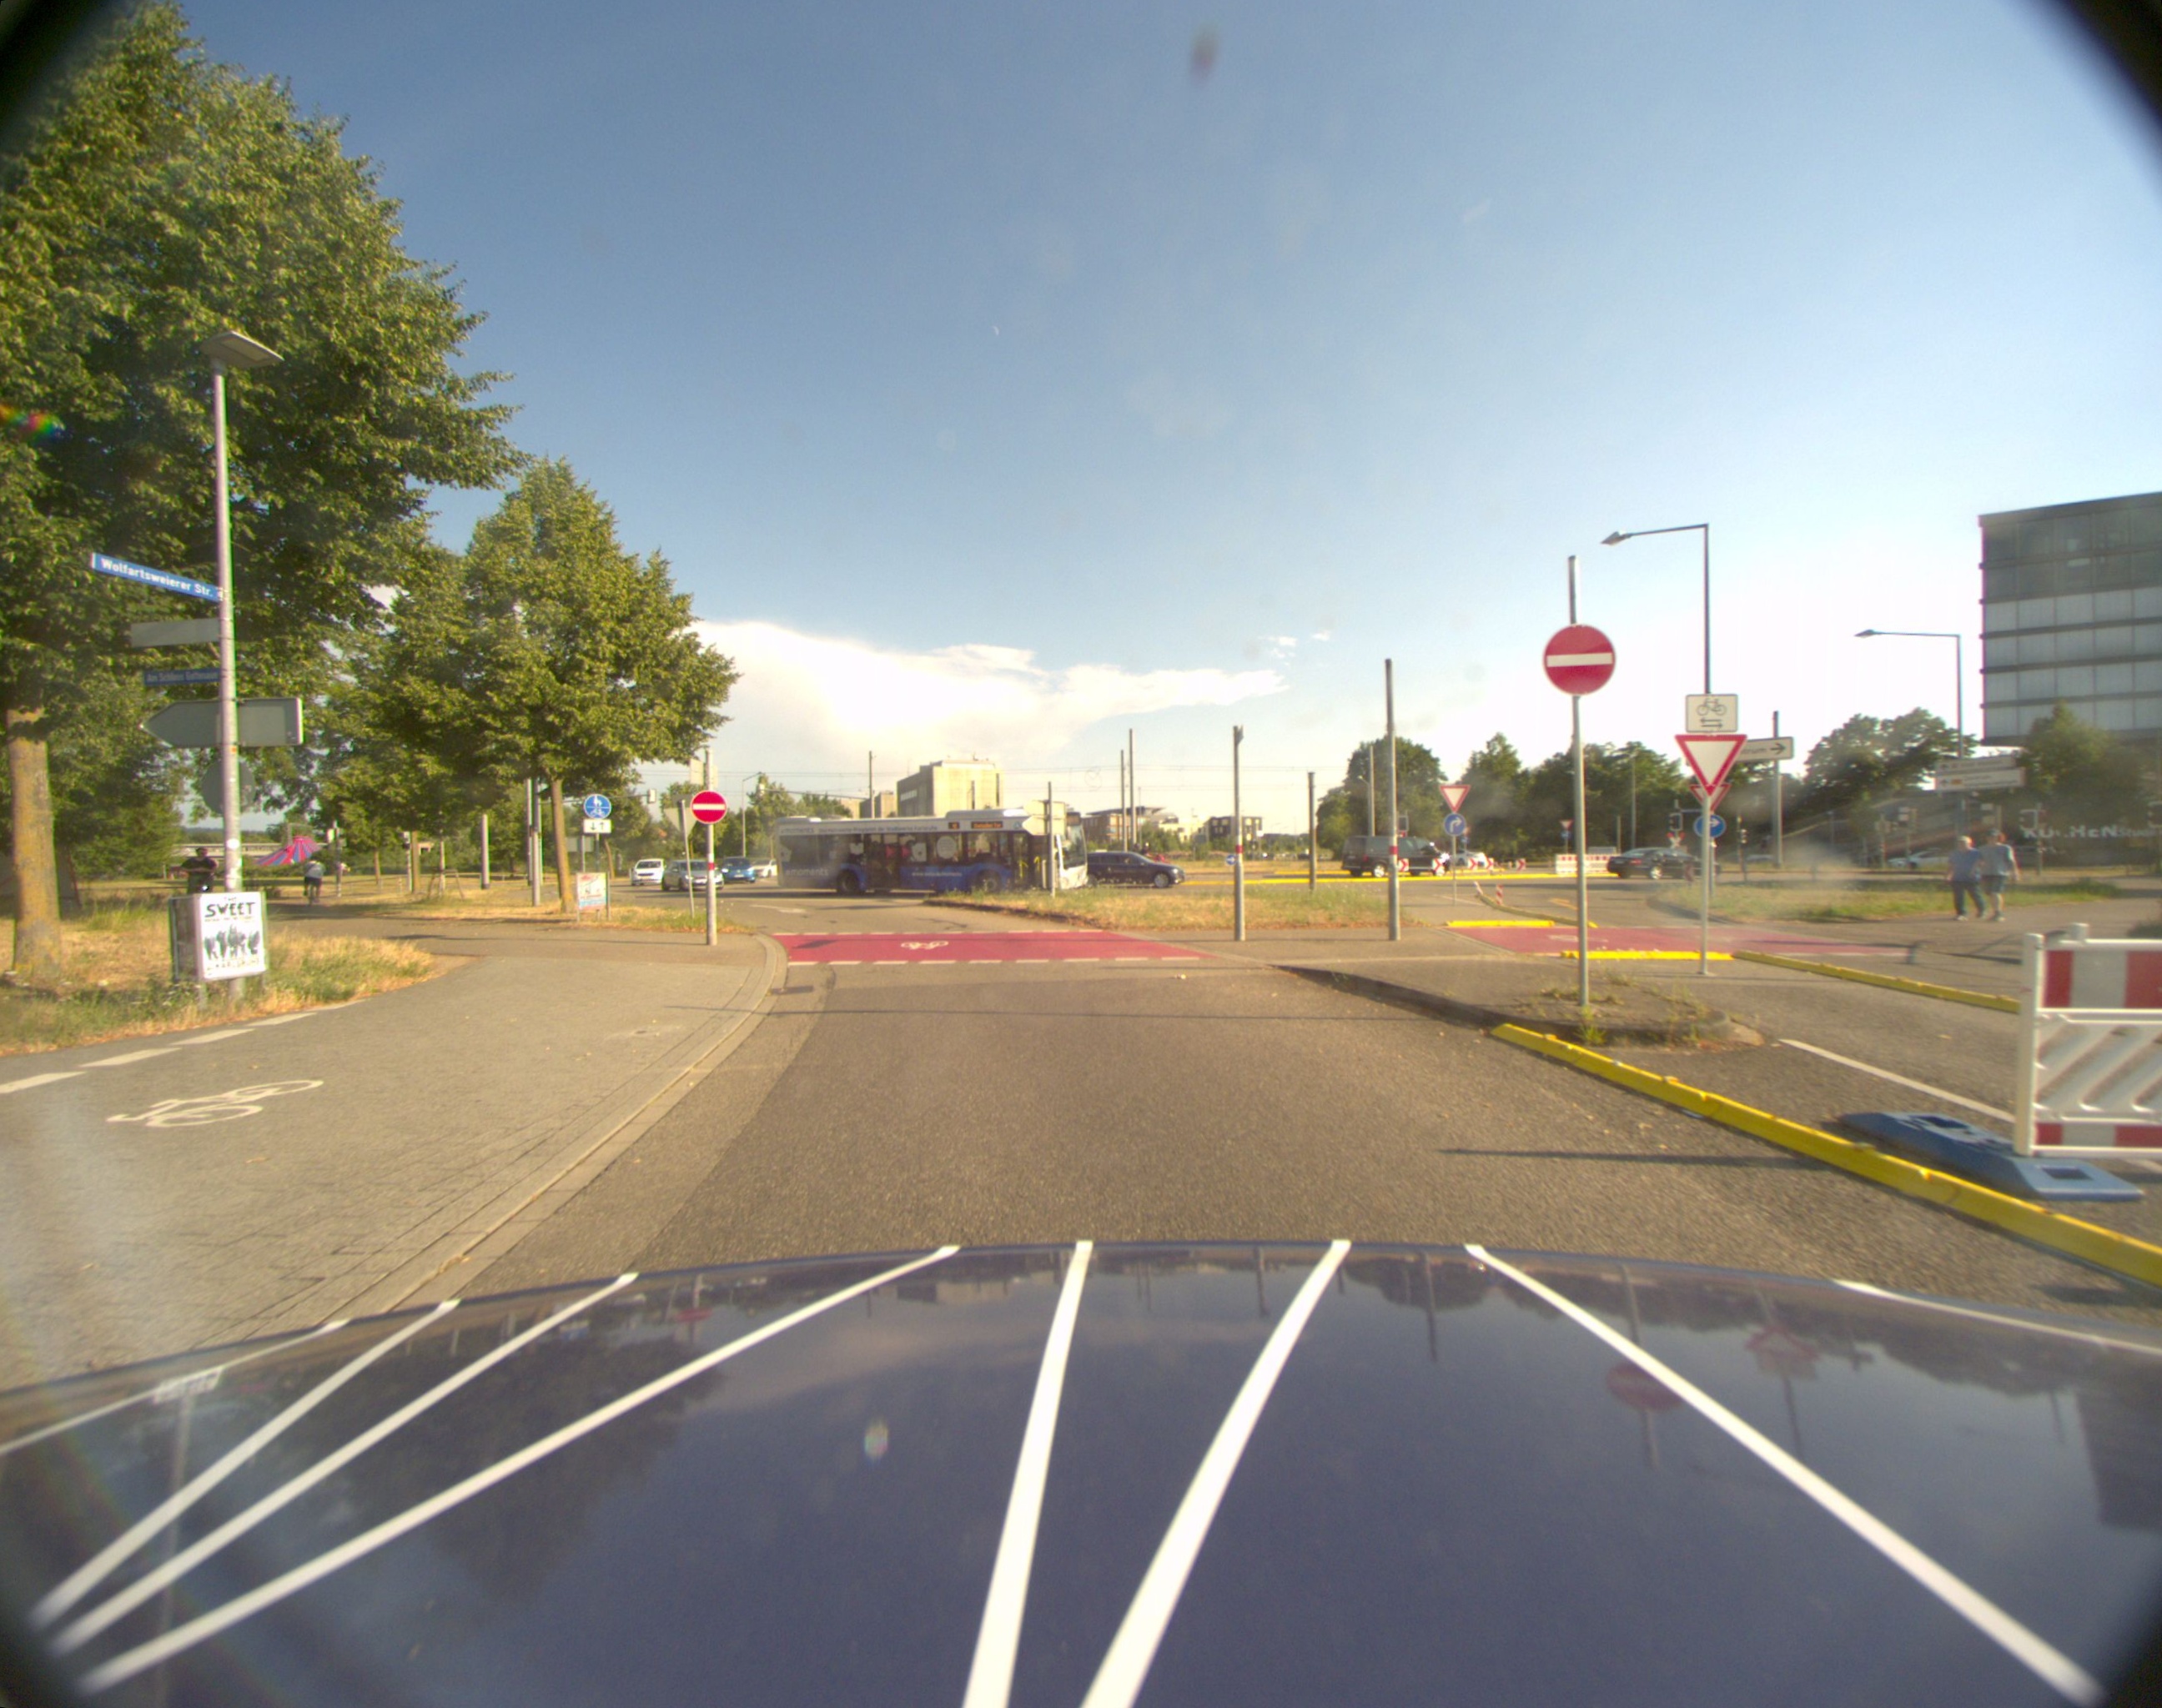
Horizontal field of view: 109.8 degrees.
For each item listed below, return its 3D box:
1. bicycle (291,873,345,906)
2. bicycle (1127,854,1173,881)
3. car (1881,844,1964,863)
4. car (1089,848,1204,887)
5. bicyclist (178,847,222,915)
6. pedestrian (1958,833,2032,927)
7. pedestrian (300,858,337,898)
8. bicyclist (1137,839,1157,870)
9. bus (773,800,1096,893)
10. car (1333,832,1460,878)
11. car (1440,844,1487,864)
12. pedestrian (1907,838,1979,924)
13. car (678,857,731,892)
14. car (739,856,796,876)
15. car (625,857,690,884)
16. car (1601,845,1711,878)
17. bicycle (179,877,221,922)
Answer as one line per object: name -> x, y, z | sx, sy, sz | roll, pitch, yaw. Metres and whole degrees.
bicycle -> -26.821, 1.225, 26.753 | 0.535, 1.049, 1.910 | -1, 0, -19
bicycle -> 3.203, 0.624, 35.385 | 2.030, 1.177, 0.820 | -1, 0, -1
car -> 58.418, -0.056, 52.827 | 3.494, 1.232, 1.662 | -1, 0, 25
car -> 2.650, 0.527, 30.333 | 4.380, 1.428, 1.812 | -1, 0, 11
bicyclist -> -23.839, 0.719, 20.567 | 0.936, 1.790, 0.730 | -1, 1, 41
pedestrian -> 17.814, 0.487, 14.810 | 0.773, 1.765, 0.758 | -1, 1, -26
pedestrian -> -26.690, 0.823, 26.615 | 0.653, 1.383, 0.766 | 0, 0, -21
bicyclist -> 3.076, 0.036, 35.424 | 0.771, 1.377, 0.883 | -3, 3, -1
bus -> -5.637, -0.160, 28.203 | 12.151, 3.044, 2.670 | -1, 1, 21
car -> 15.024, 0.055, 36.278 | 5.244, 2.035, 2.093 | -1, 0, -9
car -> 32.983, -0.012, 65.590 | 1.999, 1.565, 3.999 | -1, 0, -1
pedestrian -> 17.765, 0.535, 15.663 | 0.813, 1.699, 0.784 | -1, 0, -26
car -> -17.620, 0.917, 35.482 | 2.003, 1.514, 3.991 | -1, 0, -29
car -> -23.990, 0.903, 58.301 | 2.092, 1.376, 4.591 | -1, 0, 5
car -> -25.731, 0.964, 46.343 | 1.911, 1.542, 4.047 | -1, 0, -4
car -> 26.571, 0.316, 35.124 | 4.705, 1.398, 1.840 | -1, 0, -21
bicycle -> -23.699, 1.200, 20.463 | 2.119, 1.116, 0.642 | -1, 1, 43
